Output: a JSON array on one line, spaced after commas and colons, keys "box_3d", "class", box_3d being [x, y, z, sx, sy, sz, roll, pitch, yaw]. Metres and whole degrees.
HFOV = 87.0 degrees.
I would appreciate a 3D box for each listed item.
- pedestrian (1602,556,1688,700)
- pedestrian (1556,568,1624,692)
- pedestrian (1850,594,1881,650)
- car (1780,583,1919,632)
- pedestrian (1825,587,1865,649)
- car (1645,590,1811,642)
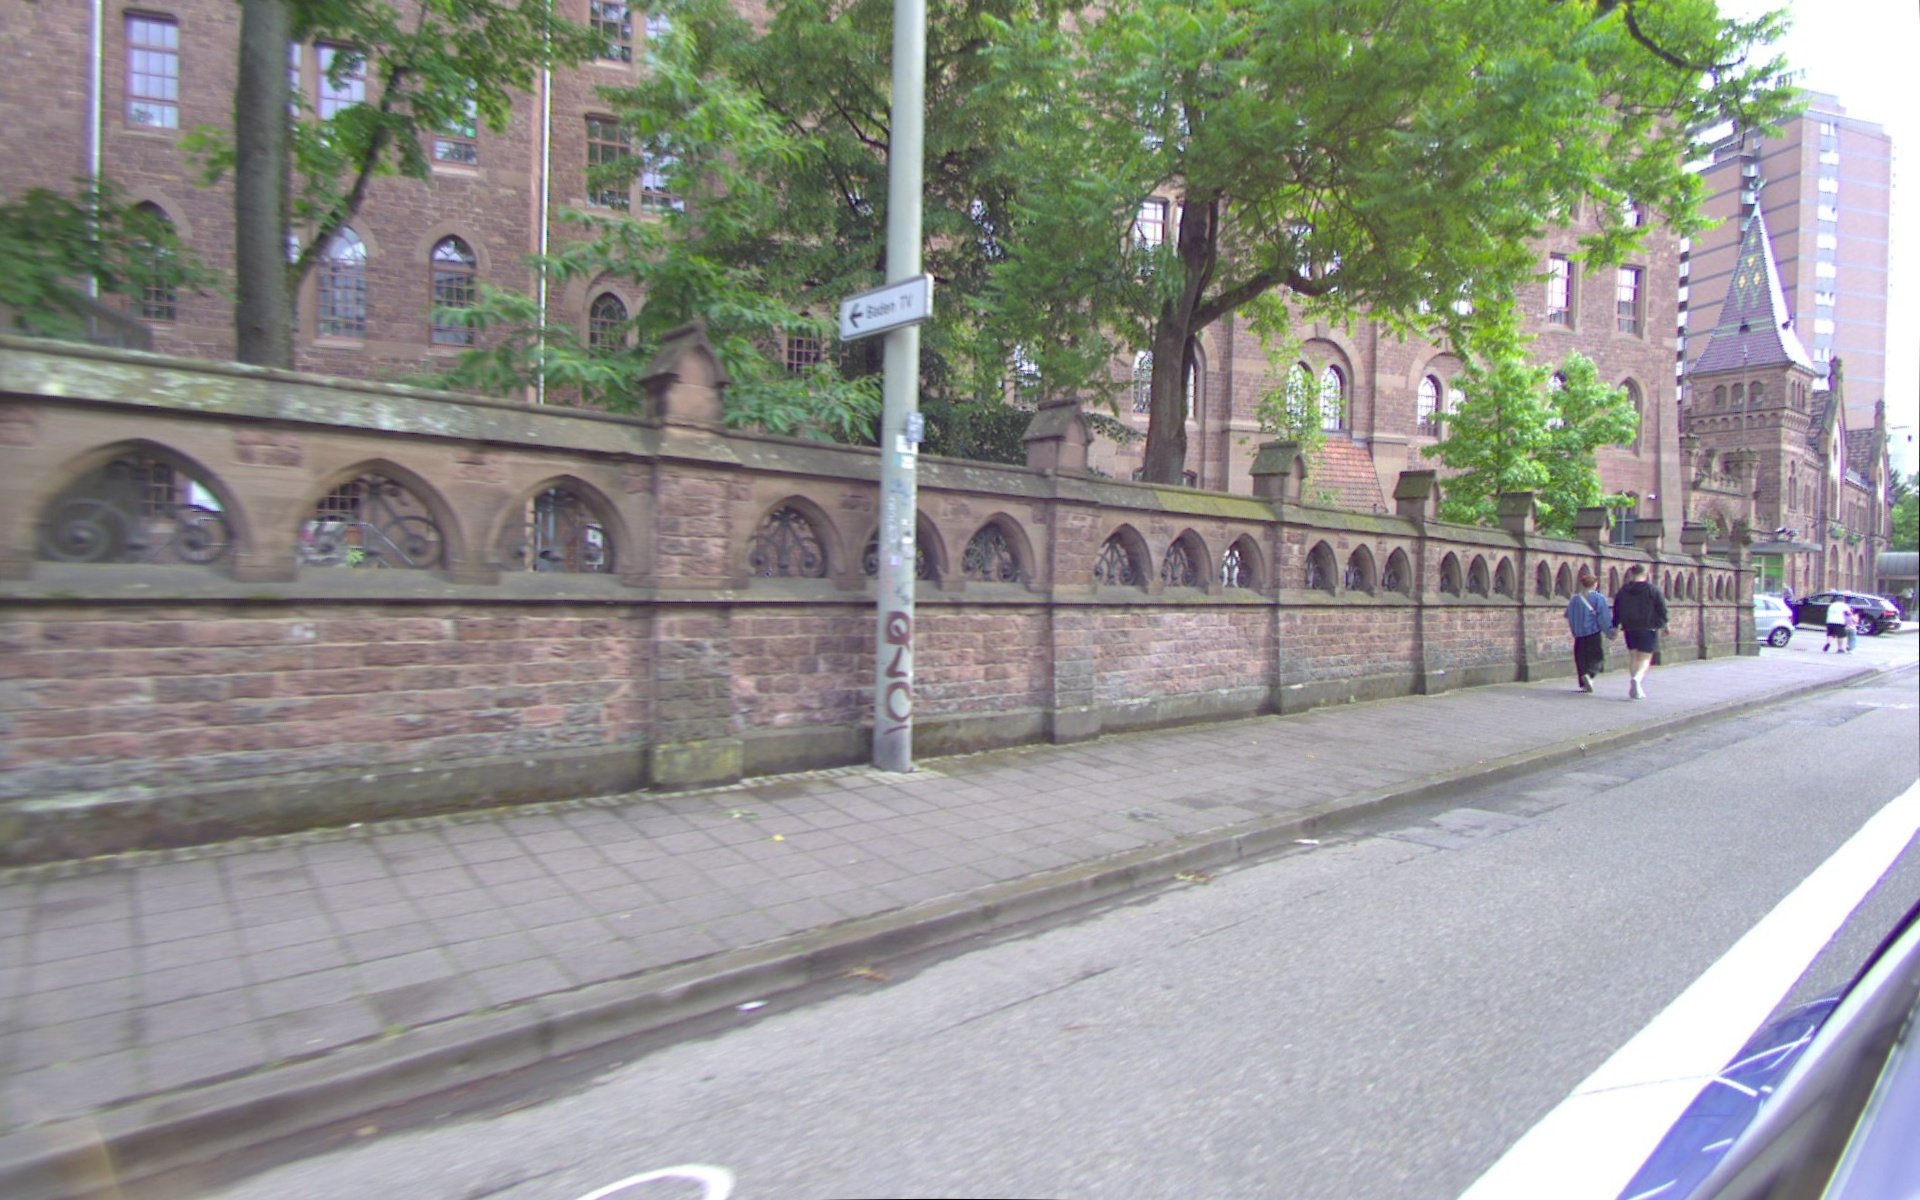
[{"box_3d": [9.380, 0.353, 13.854, 0.883, 1.867, 0.722, 0, 3, -43], "class": "pedestrian"}, {"box_3d": [8.922, 0.407, 14.332, 0.759, 1.675, 0.558, 0, 3, -43], "class": "pedestrian"}, {"box_3d": [26.495, 0.647, 29.607, 0.481, 1.576, 0.529, 0, 5, -43], "class": "pedestrian"}, {"box_3d": [36.789, 0.273, 41.789, 1.959, 1.637, 4.009, 1, 5, -29], "class": "car"}, {"box_3d": [26.147, 0.524, 29.888, 0.981, 1.733, 0.668, 0, 5, -43], "class": "pedestrian"}, {"box_3d": [24.364, 0.483, 32.194, 3.921, 1.594, 1.856, 0, 0, -4], "class": "car"}]
